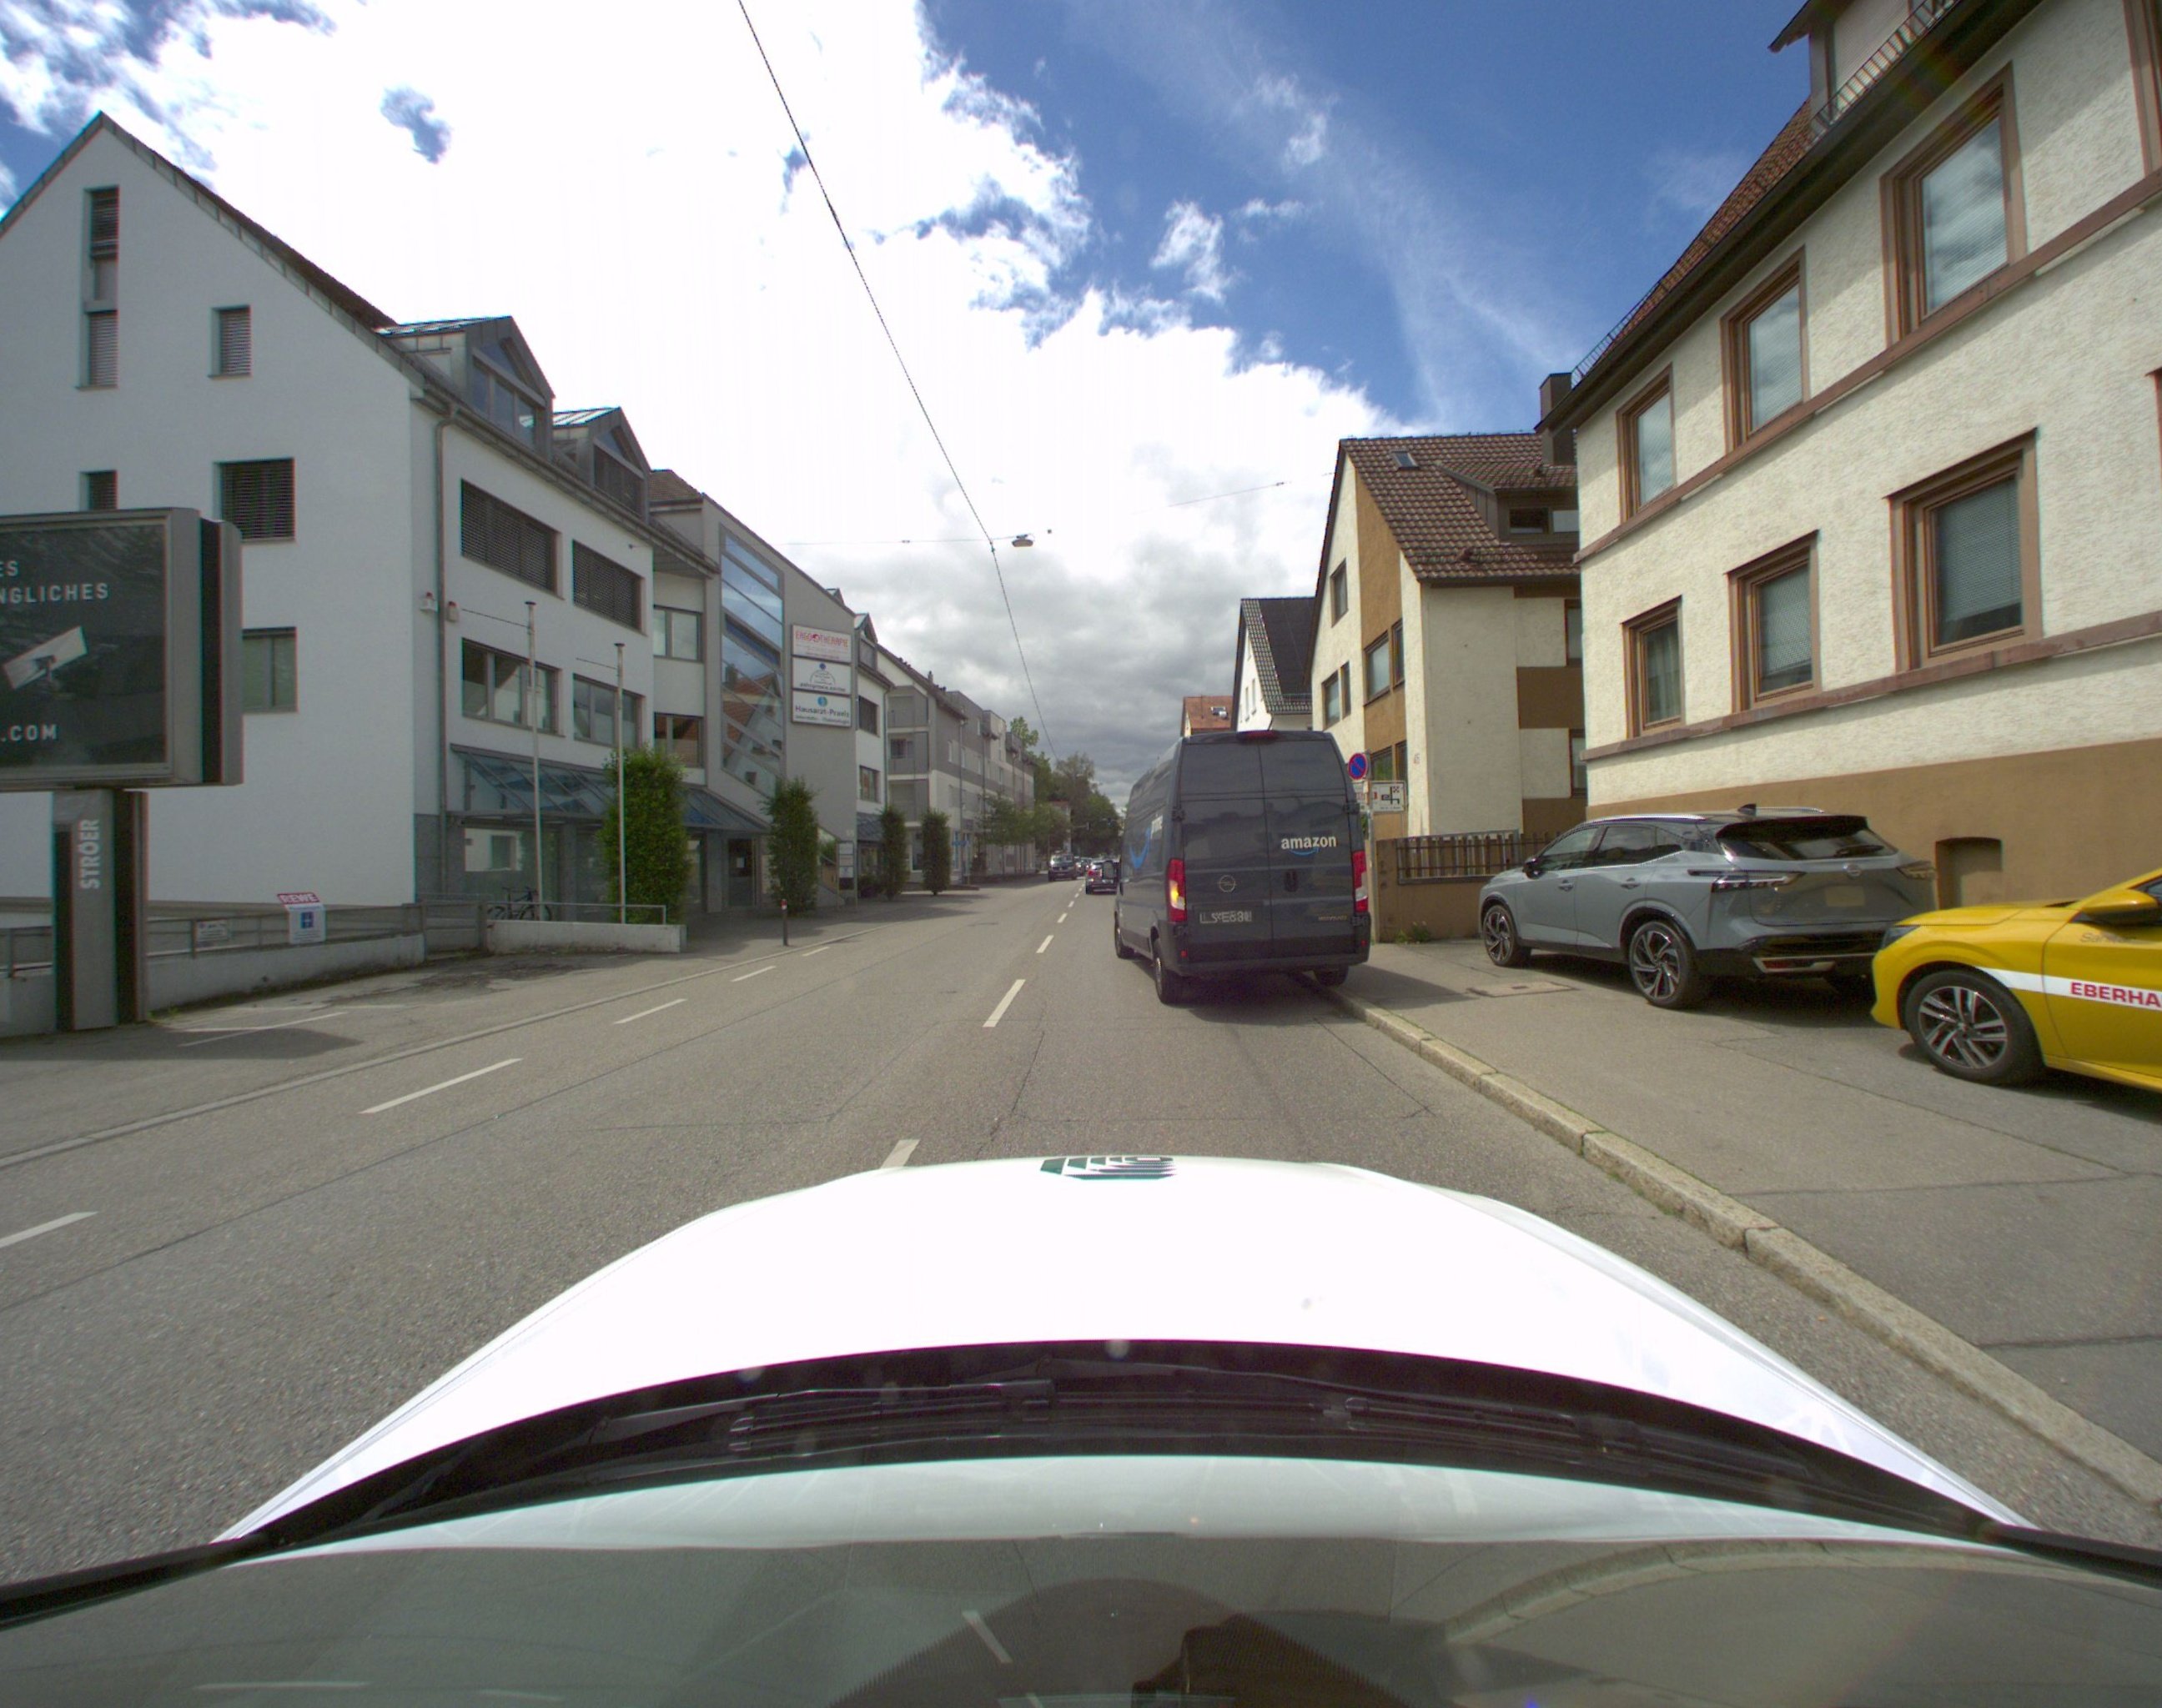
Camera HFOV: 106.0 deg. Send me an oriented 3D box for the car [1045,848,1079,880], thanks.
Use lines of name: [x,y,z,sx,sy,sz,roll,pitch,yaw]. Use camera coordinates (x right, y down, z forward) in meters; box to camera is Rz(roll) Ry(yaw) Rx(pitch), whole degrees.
car: [-1.320,0.721,58.932,2.098,2.121,4.766,-4,0,1]

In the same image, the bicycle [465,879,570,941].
bicycle: [-11.379,1.098,16.537,0.628,1.095,2.004,-2,0,3]

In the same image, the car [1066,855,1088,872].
car: [-0.354,0.920,81.998,2.098,1.596,4.650,-2,0,1]

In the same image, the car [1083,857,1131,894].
car: [1.206,0.902,35.676,1.888,1.453,3.973,-1,0,4]

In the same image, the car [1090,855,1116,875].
car: [1.778,0.844,64.947,1.888,1.446,3.972,-2,0,3]

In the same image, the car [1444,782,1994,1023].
car: [5.544,0.342,8.066,1.854,1.612,4.586,-3,0,1]

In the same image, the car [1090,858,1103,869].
car: [2.529,1.495,131.903,2.098,1.596,4.650,-2,0,1]

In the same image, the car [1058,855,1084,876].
car: [-0.830,0.990,71.025,2.098,1.710,4.766,-2,0,1]

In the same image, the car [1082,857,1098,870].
car: [1.192,1.186,107.301,2.098,1.596,4.650,-2,0,1]

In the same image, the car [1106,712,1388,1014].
car: [1.667,0.087,10.501,2.247,2.795,5.564,-2,0,-2]

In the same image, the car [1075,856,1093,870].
car: [0.401,1.062,97.754,2.098,1.596,4.650,-2,0,1]

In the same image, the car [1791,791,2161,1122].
car: [5.667,0.430,3.273,1.871,1.447,4.307,-2,2,0]

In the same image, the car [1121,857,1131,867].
car: [9.630,1.712,173.185,1.985,2.014,4.003,-2,0,3]
